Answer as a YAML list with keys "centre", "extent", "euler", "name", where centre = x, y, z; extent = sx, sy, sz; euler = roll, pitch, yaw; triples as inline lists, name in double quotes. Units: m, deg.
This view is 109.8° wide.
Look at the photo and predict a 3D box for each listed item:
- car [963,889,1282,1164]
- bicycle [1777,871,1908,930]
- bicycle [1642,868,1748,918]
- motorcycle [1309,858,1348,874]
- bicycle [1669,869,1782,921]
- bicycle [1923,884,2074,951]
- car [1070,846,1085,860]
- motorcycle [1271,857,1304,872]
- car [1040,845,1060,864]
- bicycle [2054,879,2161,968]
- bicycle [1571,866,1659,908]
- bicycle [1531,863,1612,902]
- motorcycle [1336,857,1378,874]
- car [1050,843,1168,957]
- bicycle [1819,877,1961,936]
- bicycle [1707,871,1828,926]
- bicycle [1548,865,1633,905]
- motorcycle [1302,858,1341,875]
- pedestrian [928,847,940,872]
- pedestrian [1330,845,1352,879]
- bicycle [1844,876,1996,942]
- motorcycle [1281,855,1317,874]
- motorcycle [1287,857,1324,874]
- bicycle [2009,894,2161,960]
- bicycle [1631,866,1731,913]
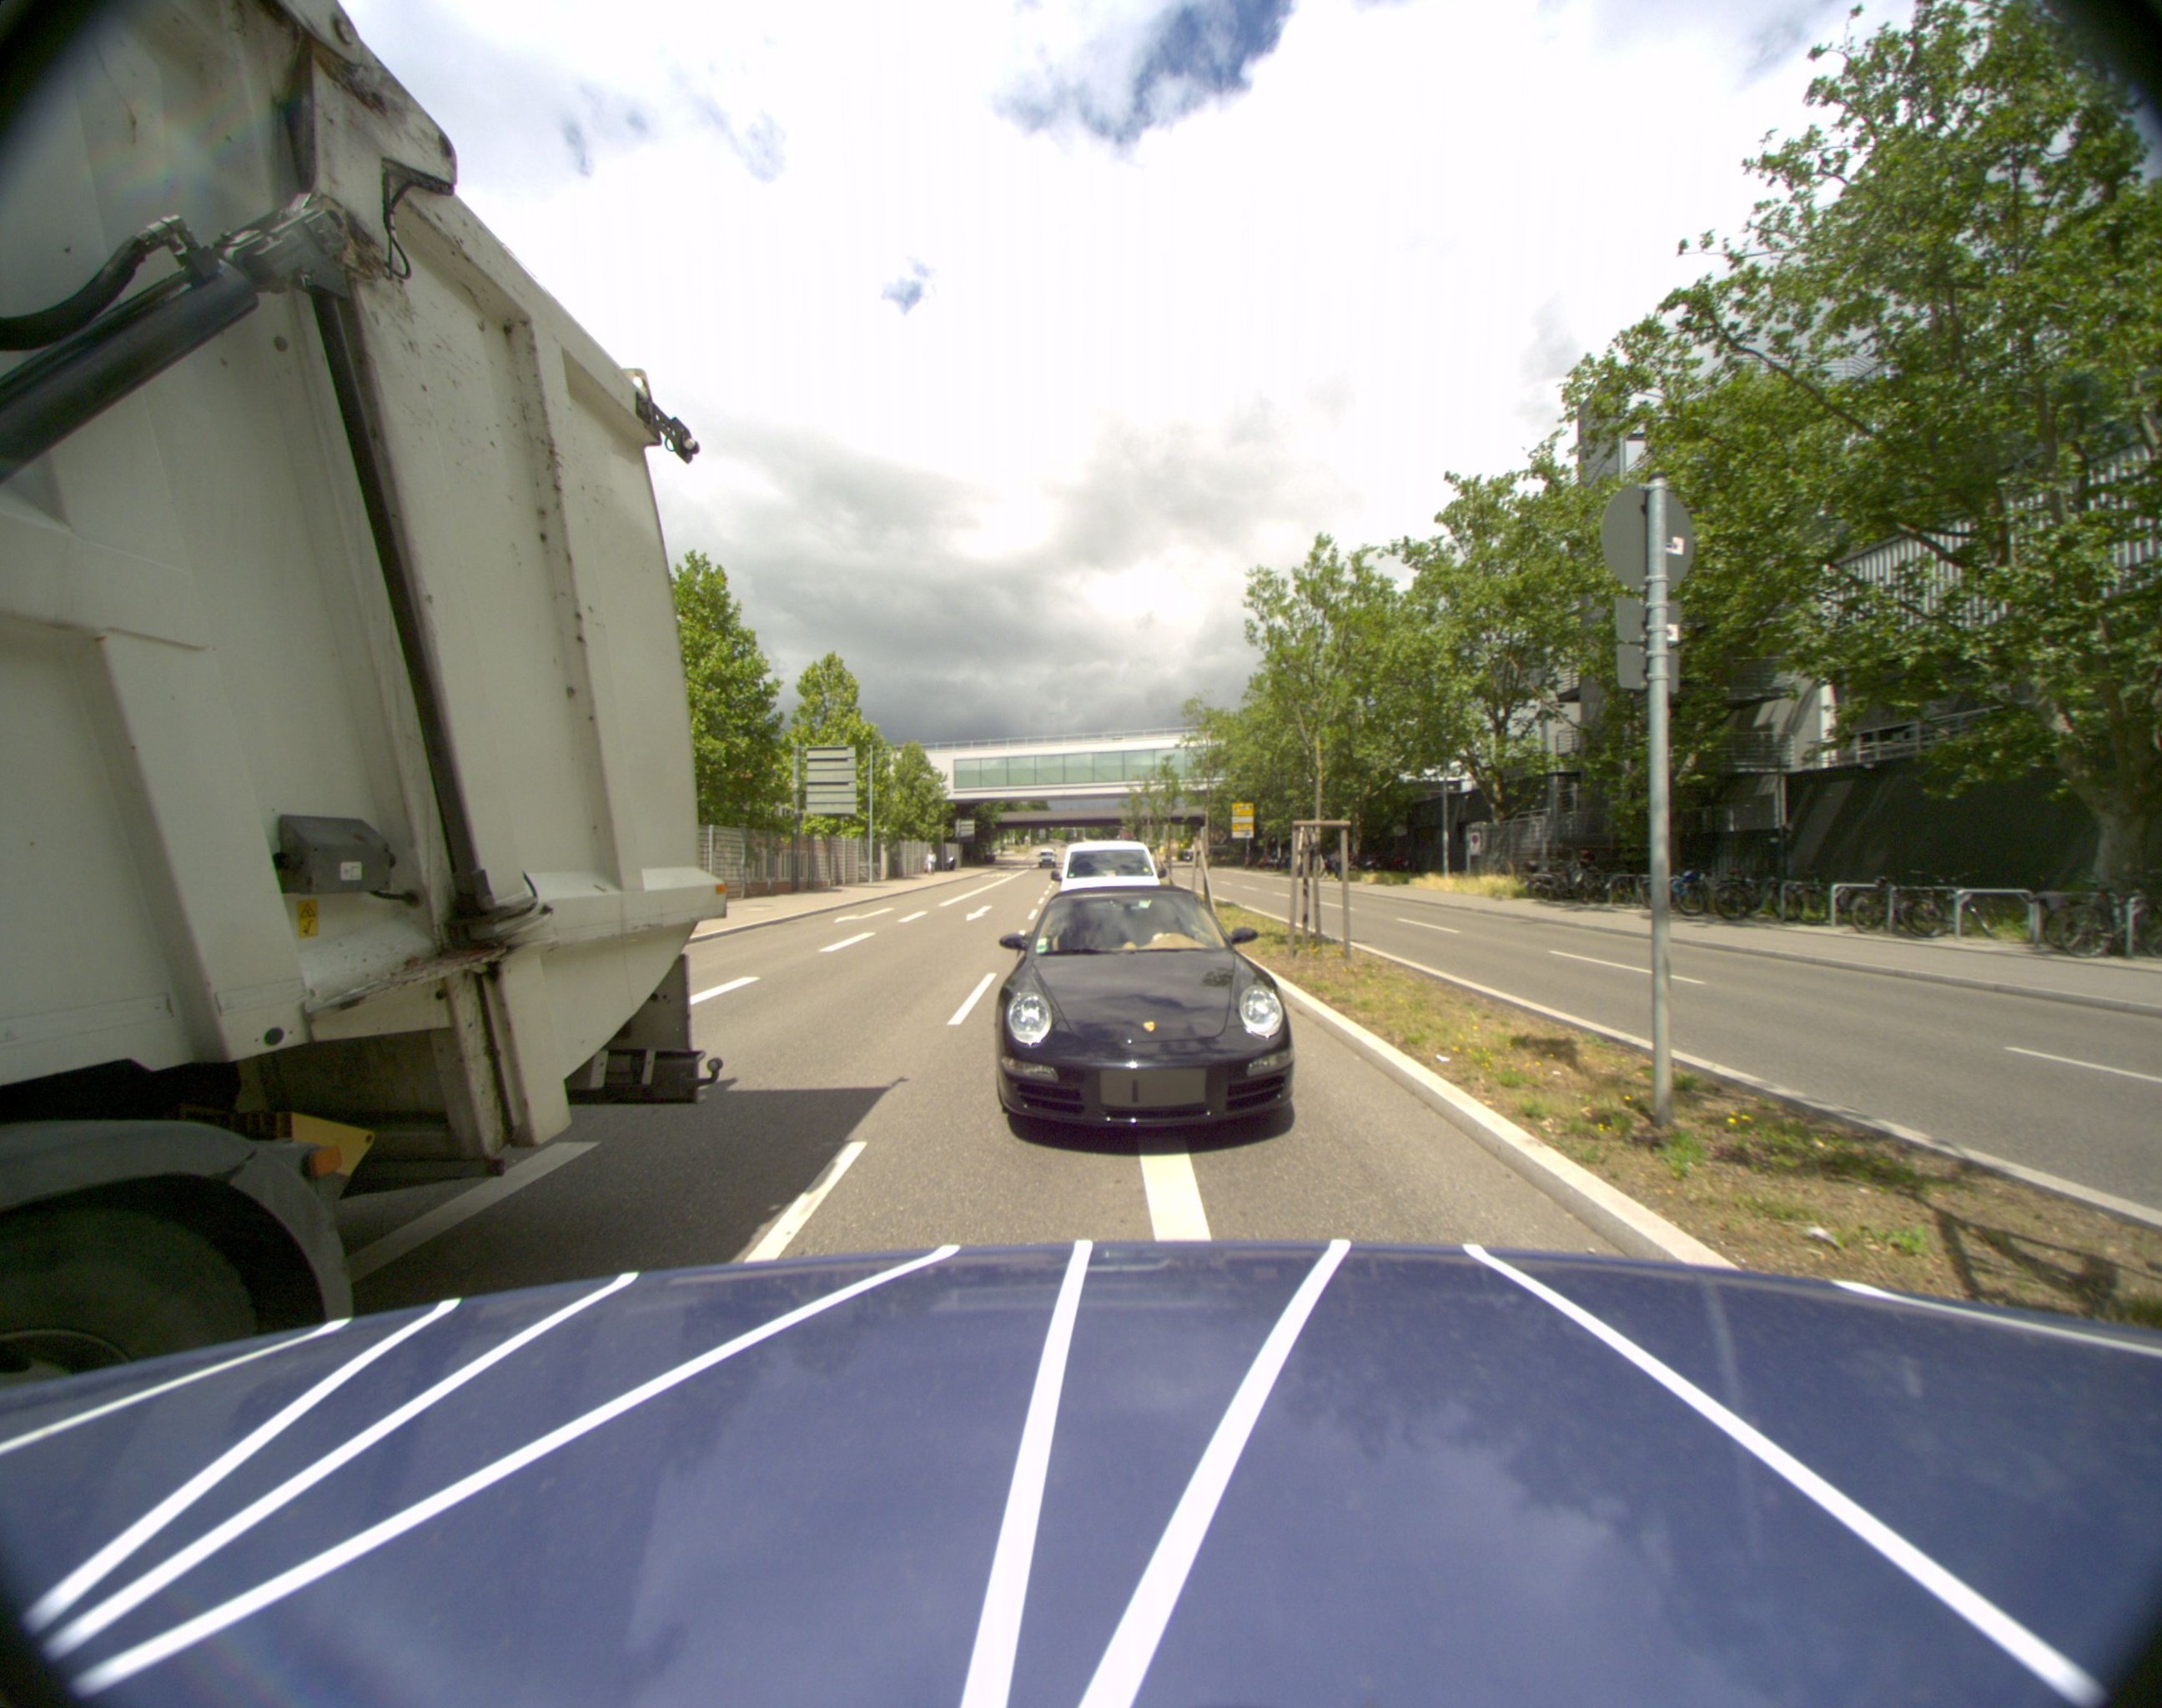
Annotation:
- centre: [0.251, 1.031, 6.043]
  extent: [1.710, 1.280, 3.806]
  euler: [-1, 0, 1]
  name: "car"
- centre: [15.045, 0.922, 15.032]
  extent: [2.129, 1.104, 0.382]
  euler: [-1, 1, 3]
  name: "bicycle"
- centre: [14.509, 0.920, 17.982]
  extent: [2.129, 1.104, 0.382]
  euler: [-1, 1, 3]
  name: "bicycle"
- centre: [14.580, 0.732, 44.750]
  extent: [2.133, 0.880, 0.534]
  euler: [-1, 0, 1]
  name: "motorcycle"
- centre: [14.483, 0.928, 17.095]
  extent: [2.129, 1.104, 0.382]
  euler: [-1, 1, 3]
  name: "bicycle"
- centre: [14.756, 1.010, 12.231]
  extent: [1.993, 0.992, 0.382]
  euler: [-1, 1, -1]
  name: "bicycle"
- centre: [-0.437, -0.184, 104.035]
  extent: [1.862, 1.800, 4.357]
  euler: [-3, 0, 1]
  name: "car"
- centre: [14.085, 0.686, 51.832]
  extent: [2.133, 0.963, 0.534]
  euler: [-1, 0, 1]
  name: "motorcycle"
- centre: [-3.576, 0.059, 87.661]
  extent: [1.925, 2.082, 4.657]
  euler: [-1, 0, 2]
  name: "car"
- centre: [14.357, 0.924, 10.249]
  extent: [1.993, 1.121, 0.382]
  euler: [-1, 1, -1]
  name: "bicycle"
- centre: [14.826, 0.910, 21.109]
  extent: [2.129, 1.104, 0.382]
  euler: [-1, 1, 3]
  name: "bicycle"
- centre: [14.753, 0.861, 22.874]
  extent: [2.129, 1.104, 0.382]
  euler: [-1, 1, 3]
  name: "bicycle"
- centre: [15.413, 0.642, 42.401]
  extent: [2.133, 0.893, 0.534]
  euler: [-1, 0, 1]
  name: "motorcycle"
- centre: [0.478, 0.732, 14.719]
  extent: [1.862, 1.800, 4.906]
  euler: [-1, 0, 1]
  name: "car"
- centre: [15.015, 0.965, 14.126]
  extent: [2.129, 1.025, 0.382]
  euler: [-1, 1, 3]
  name: "bicycle"
- centre: [14.504, 0.939, 16.071]
  extent: [2.129, 1.104, 0.382]
  euler: [-1, 1, 3]
  name: "bicycle"
- centre: [14.757, 0.897, 22.032]
  extent: [2.129, 1.104, 0.382]
  euler: [-1, 1, 3]
  name: "bicycle"
- centre: [14.461, 0.733, 45.738]
  extent: [2.133, 0.963, 0.534]
  euler: [-1, 0, 1]
  name: "motorcycle"
- centre: [-11.344, 0.436, 58.725]
  extent: [0.739, 1.901, 0.658]
  euler: [-2, 1, -2]
  name: "pedestrian"
- centre: [13.340, 0.423, 39.065]
  extent: [0.900, 1.710, 0.673]
  euler: [-1, 1, 1]
  name: "pedestrian"
- centre: [14.582, 0.953, 13.232]
  extent: [2.129, 1.089, 0.382]
  euler: [-1, 1, 3]
  name: "bicycle"
- centre: [14.090, 0.669, 49.108]
  extent: [2.133, 1.131, 0.534]
  euler: [-1, 0, 1]
  name: "motorcycle"
- centre: [14.084, 0.721, 47.673]
  extent: [2.133, 0.963, 0.534]
  euler: [-1, 0, 1]
  name: "motorcycle"
- centre: [14.960, 1.068, 11.252]
  extent: [1.993, 0.885, 0.382]
  euler: [-1, 1, -1]
  name: "bicycle"
- centre: [15.069, 0.891, 19.097]
  extent: [2.129, 1.104, 0.382]
  euler: [-1, 1, 3]
  name: "bicycle"
